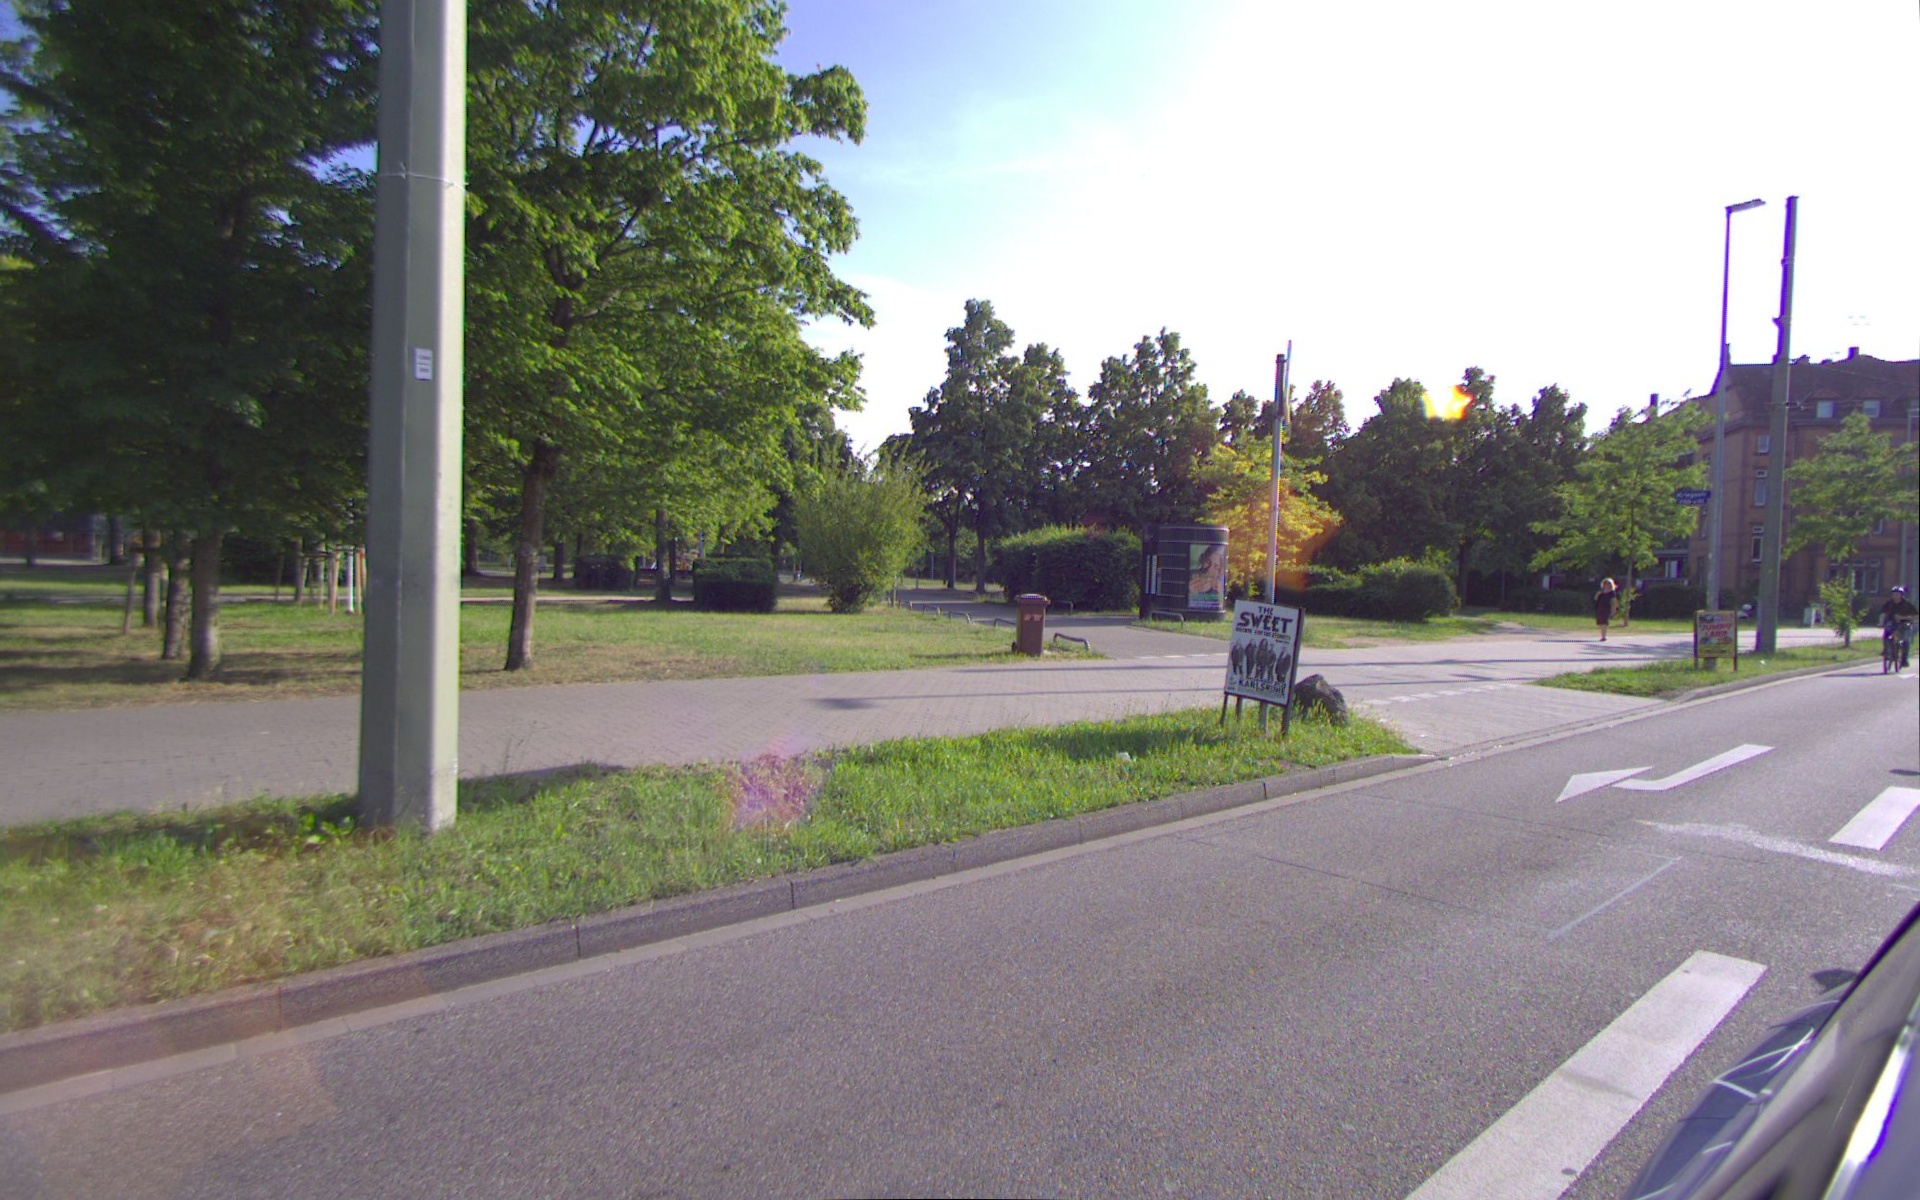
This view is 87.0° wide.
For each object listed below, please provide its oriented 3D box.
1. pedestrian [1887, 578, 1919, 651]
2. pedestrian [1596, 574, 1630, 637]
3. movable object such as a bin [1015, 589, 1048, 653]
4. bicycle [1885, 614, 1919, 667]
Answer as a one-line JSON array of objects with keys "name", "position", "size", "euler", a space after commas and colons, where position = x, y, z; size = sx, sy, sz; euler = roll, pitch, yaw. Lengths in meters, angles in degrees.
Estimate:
[{"name": "pedestrian", "position": [20.555, 0.298, 21.894], "size": [0.830, 1.540, 0.636], "euler": [0, 0, -39]}, {"name": "pedestrian", "position": [17.992, 0.142, 27.881], "size": [0.607, 1.706, 0.621], "euler": [1, 0, -40]}, {"name": "movable object such as a bin", "position": [1.085, 0.308, 15.402], "size": [0.447, 0.929, 0.605], "euler": [2, 2, 1]}, {"name": "bicycle", "position": [20.545, 0.851, 21.828], "size": [1.946, 1.059, 0.651], "euler": [-1, 0, -41]}]
